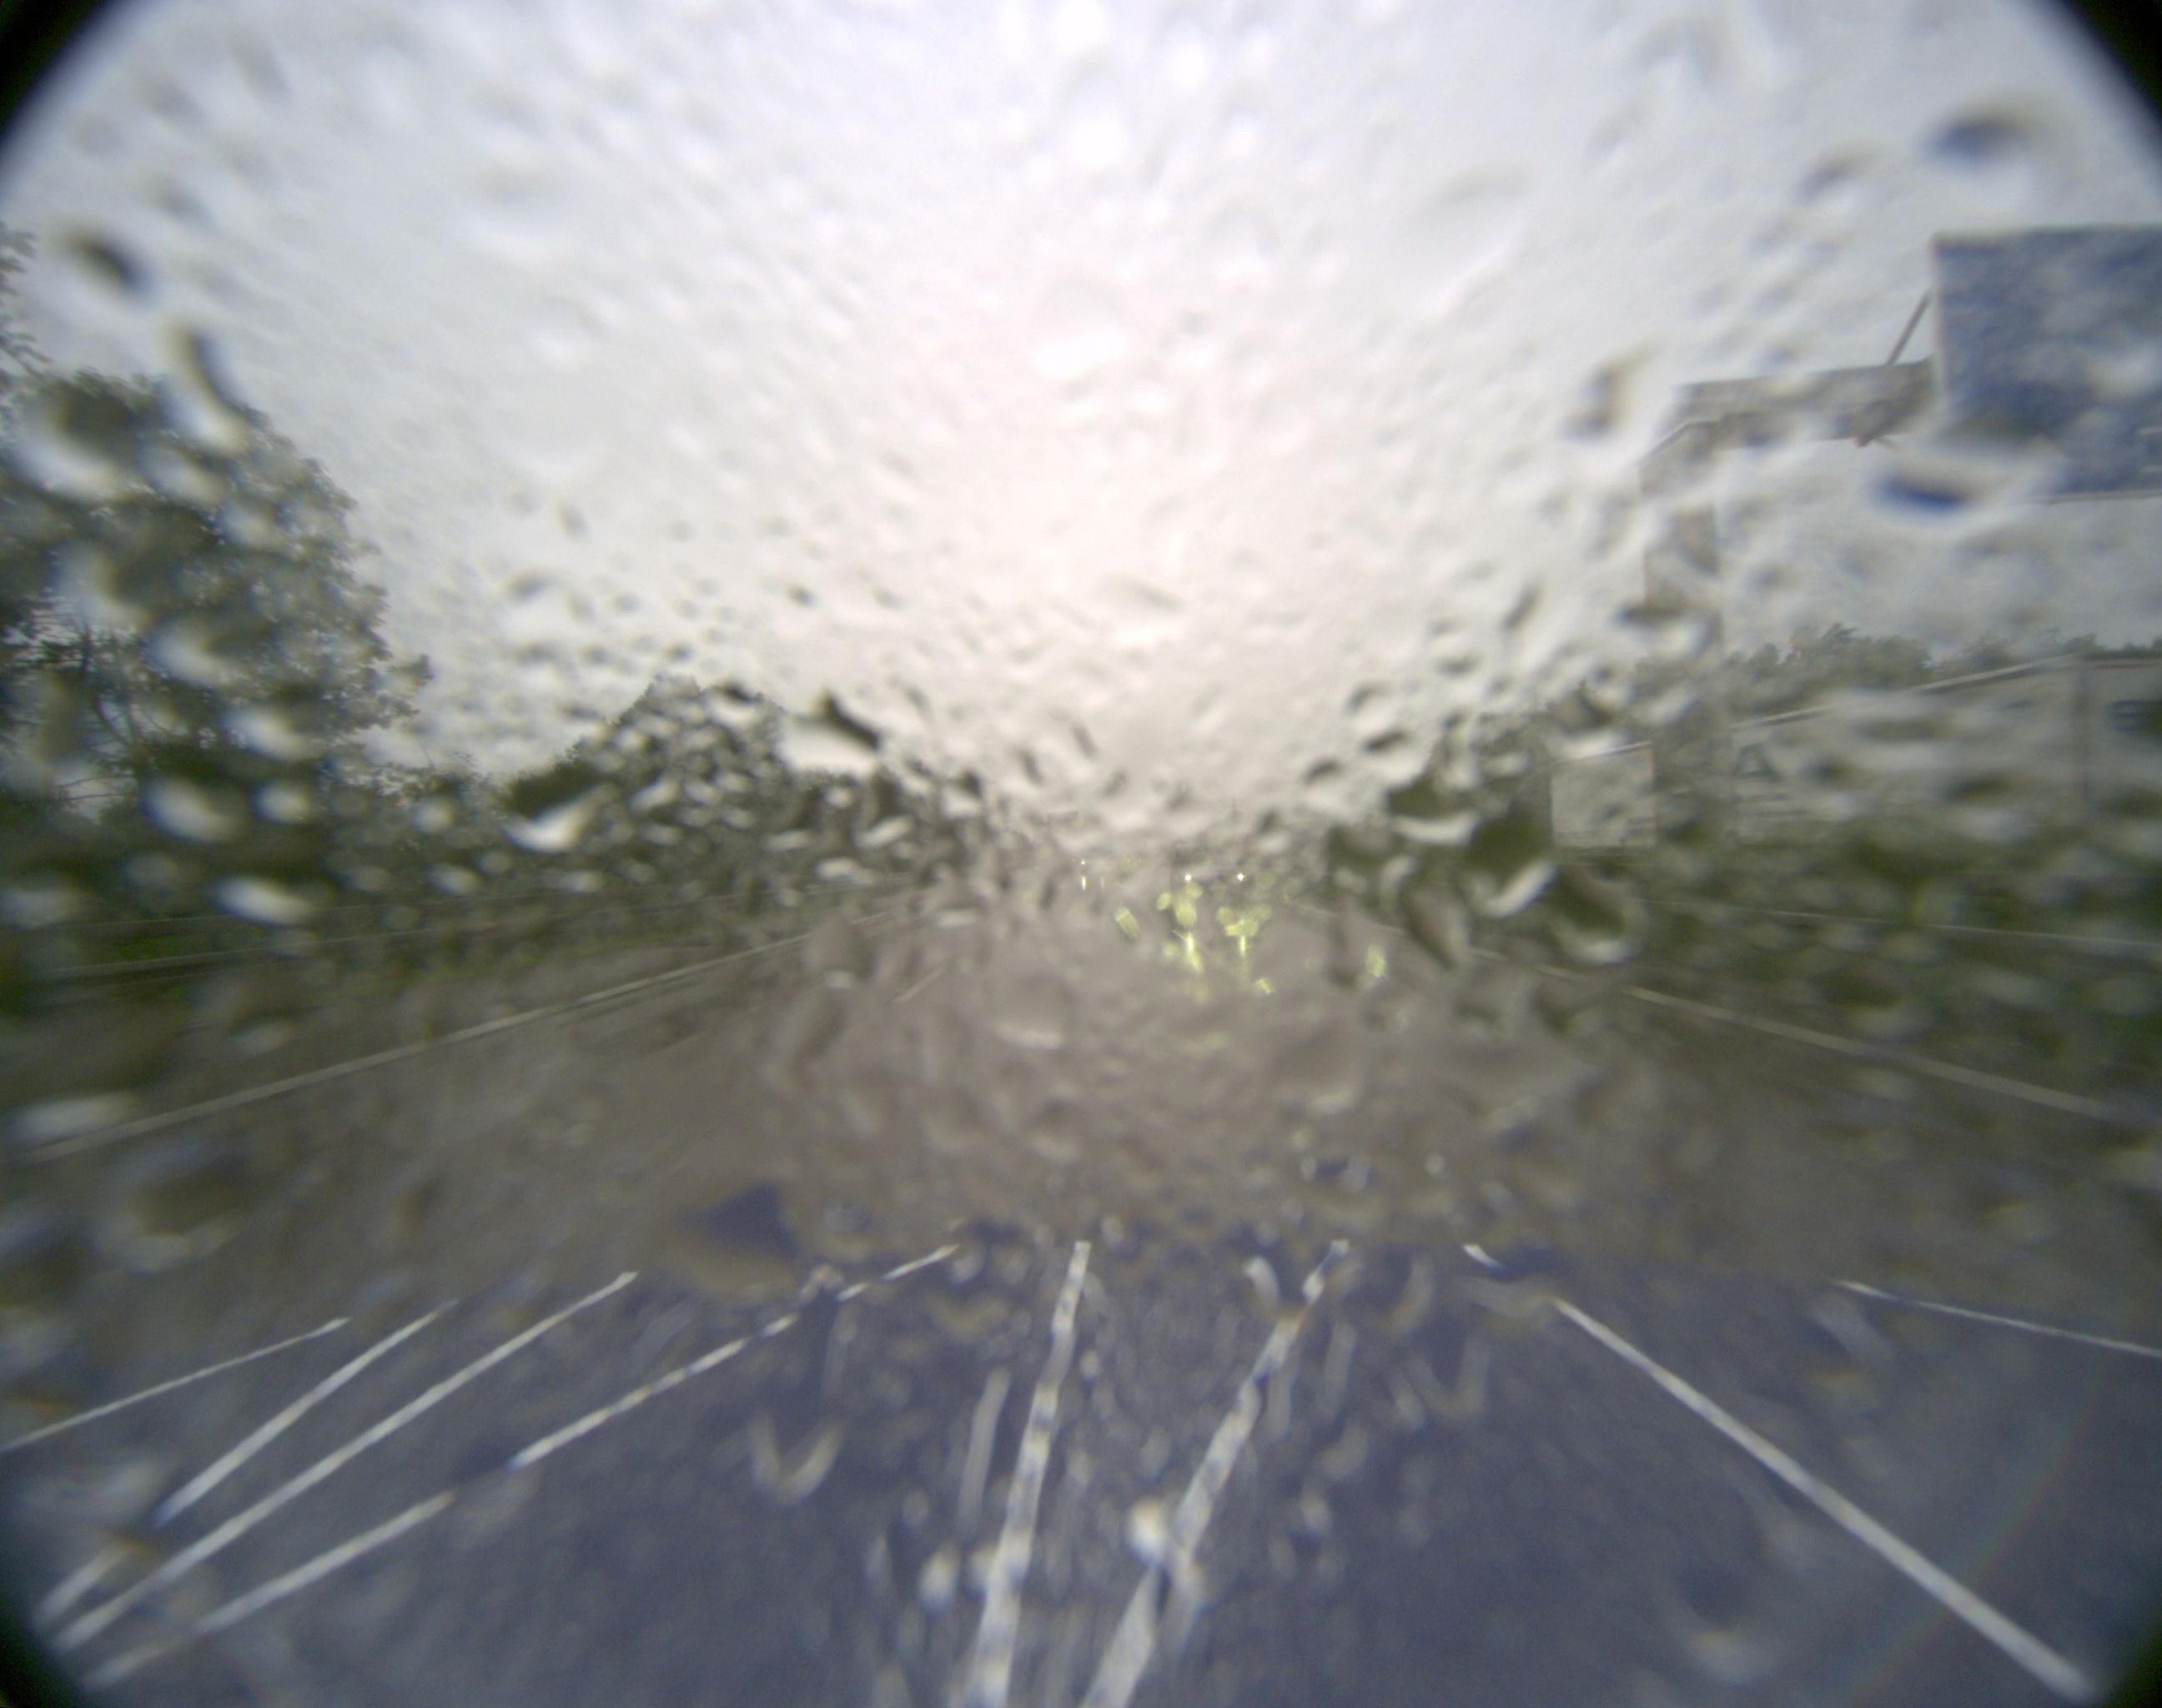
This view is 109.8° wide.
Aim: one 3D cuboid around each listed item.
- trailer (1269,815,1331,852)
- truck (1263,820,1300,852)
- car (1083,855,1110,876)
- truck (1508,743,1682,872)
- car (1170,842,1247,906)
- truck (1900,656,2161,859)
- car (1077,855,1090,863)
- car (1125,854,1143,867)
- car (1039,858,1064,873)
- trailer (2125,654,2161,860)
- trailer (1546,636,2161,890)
[{"bbox_3d":[22.919,-1.994,80.399,2.680,3.388,13.448,-4,0,1],"label":"trailer"},{"bbox_3d":[23.071,-1.997,87.715,2.673,3.397,5.528,-4,0,1],"label":"truck"},{"bbox_3d":[1.191,0.836,57.572,1.752,1.406,4.001,-2,0,4],"label":"car"},{"bbox_3d":[16.841,-1.407,25.286,2.362,3.687,4.738,-5,0,2],"label":"truck"},{"bbox_3d":[3.785,0.543,23.322,2.046,1.763,4.502,-1,0,6],"label":"car"},{"bbox_3d":[21.247,-1.888,15.046,2.915,3.698,6.509,-5,0,3],"label":"truck"},{"bbox_3d":[0.375,0.785,123.351,1.752,1.205,4.001,-5,0,4],"label":"car"},{"bbox_3d":[5.555,0.671,79.174,1.752,1.369,4.001,-2,0,4],"label":"car"},{"bbox_3d":[-2.677,1.028,69.148,1.752,1.205,4.001,-5,0,4],"label":"car"},{"bbox_3d":[20.916,-1.887,7.437,2.932,3.734,13.542,-5,0,3],"label":"trailer"},{"bbox_3d":[16.605,-1.417,18.304,2.338,3.700,13.930,-5,0,2],"label":"trailer"}]
